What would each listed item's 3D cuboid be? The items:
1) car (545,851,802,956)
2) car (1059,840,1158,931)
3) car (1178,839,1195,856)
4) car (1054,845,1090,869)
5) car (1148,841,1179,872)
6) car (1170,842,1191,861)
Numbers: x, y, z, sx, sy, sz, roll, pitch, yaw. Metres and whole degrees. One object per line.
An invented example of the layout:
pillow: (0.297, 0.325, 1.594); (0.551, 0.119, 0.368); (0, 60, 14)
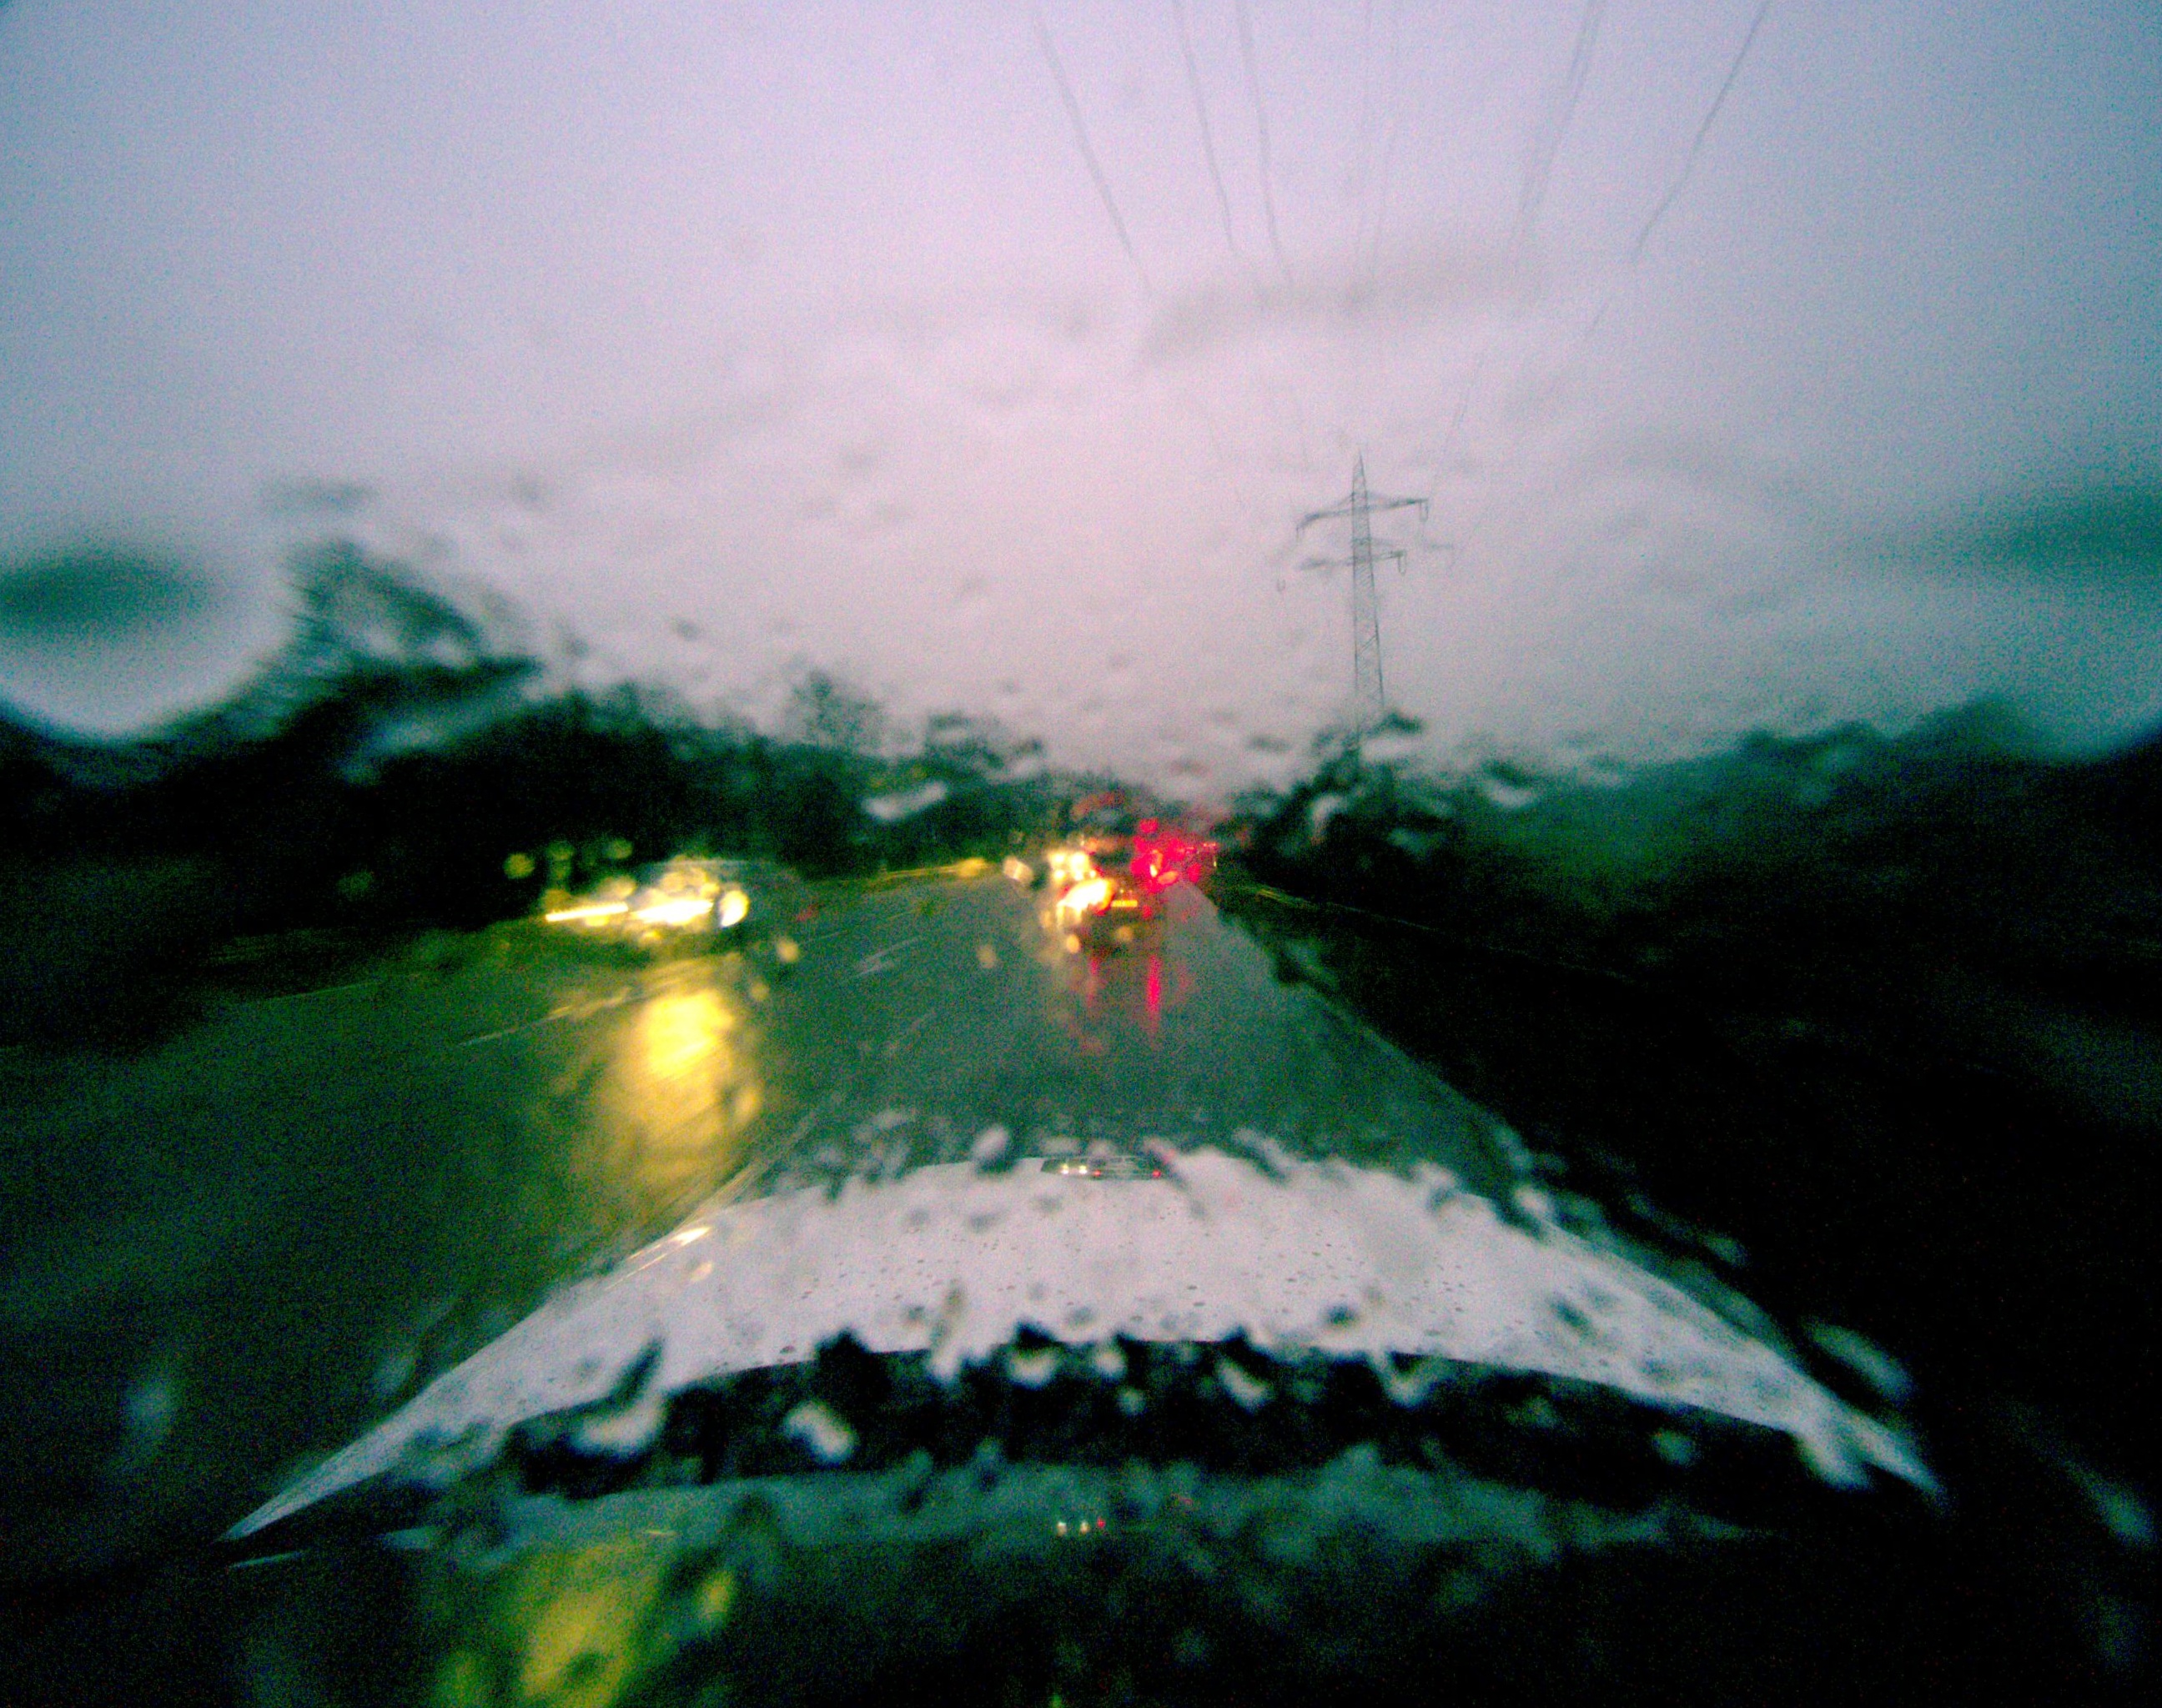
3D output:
car: (-6.654, 0.716, 13.977); (1.985, 1.490, 4.386); (-1, 0, 3)
car: (0.619, 0.557, 17.260); (1.723, 1.532, 4.046); (-5, 1, 3)
car: (12.386, -0.829, 95.905); (1.935, 1.744, 4.009); (-2, 3, 7)
car: (-0.606, 0.173, 56.780); (1.854, 1.501, 4.531); (-2, 1, 7)
car: (5.728, 0.174, 57.153); (1.937, 2.013, 4.004); (-4, 0, 4)
car: (9.711, -0.280, 79.978); (1.936, 1.744, 4.007); (-2, 2, 6)
